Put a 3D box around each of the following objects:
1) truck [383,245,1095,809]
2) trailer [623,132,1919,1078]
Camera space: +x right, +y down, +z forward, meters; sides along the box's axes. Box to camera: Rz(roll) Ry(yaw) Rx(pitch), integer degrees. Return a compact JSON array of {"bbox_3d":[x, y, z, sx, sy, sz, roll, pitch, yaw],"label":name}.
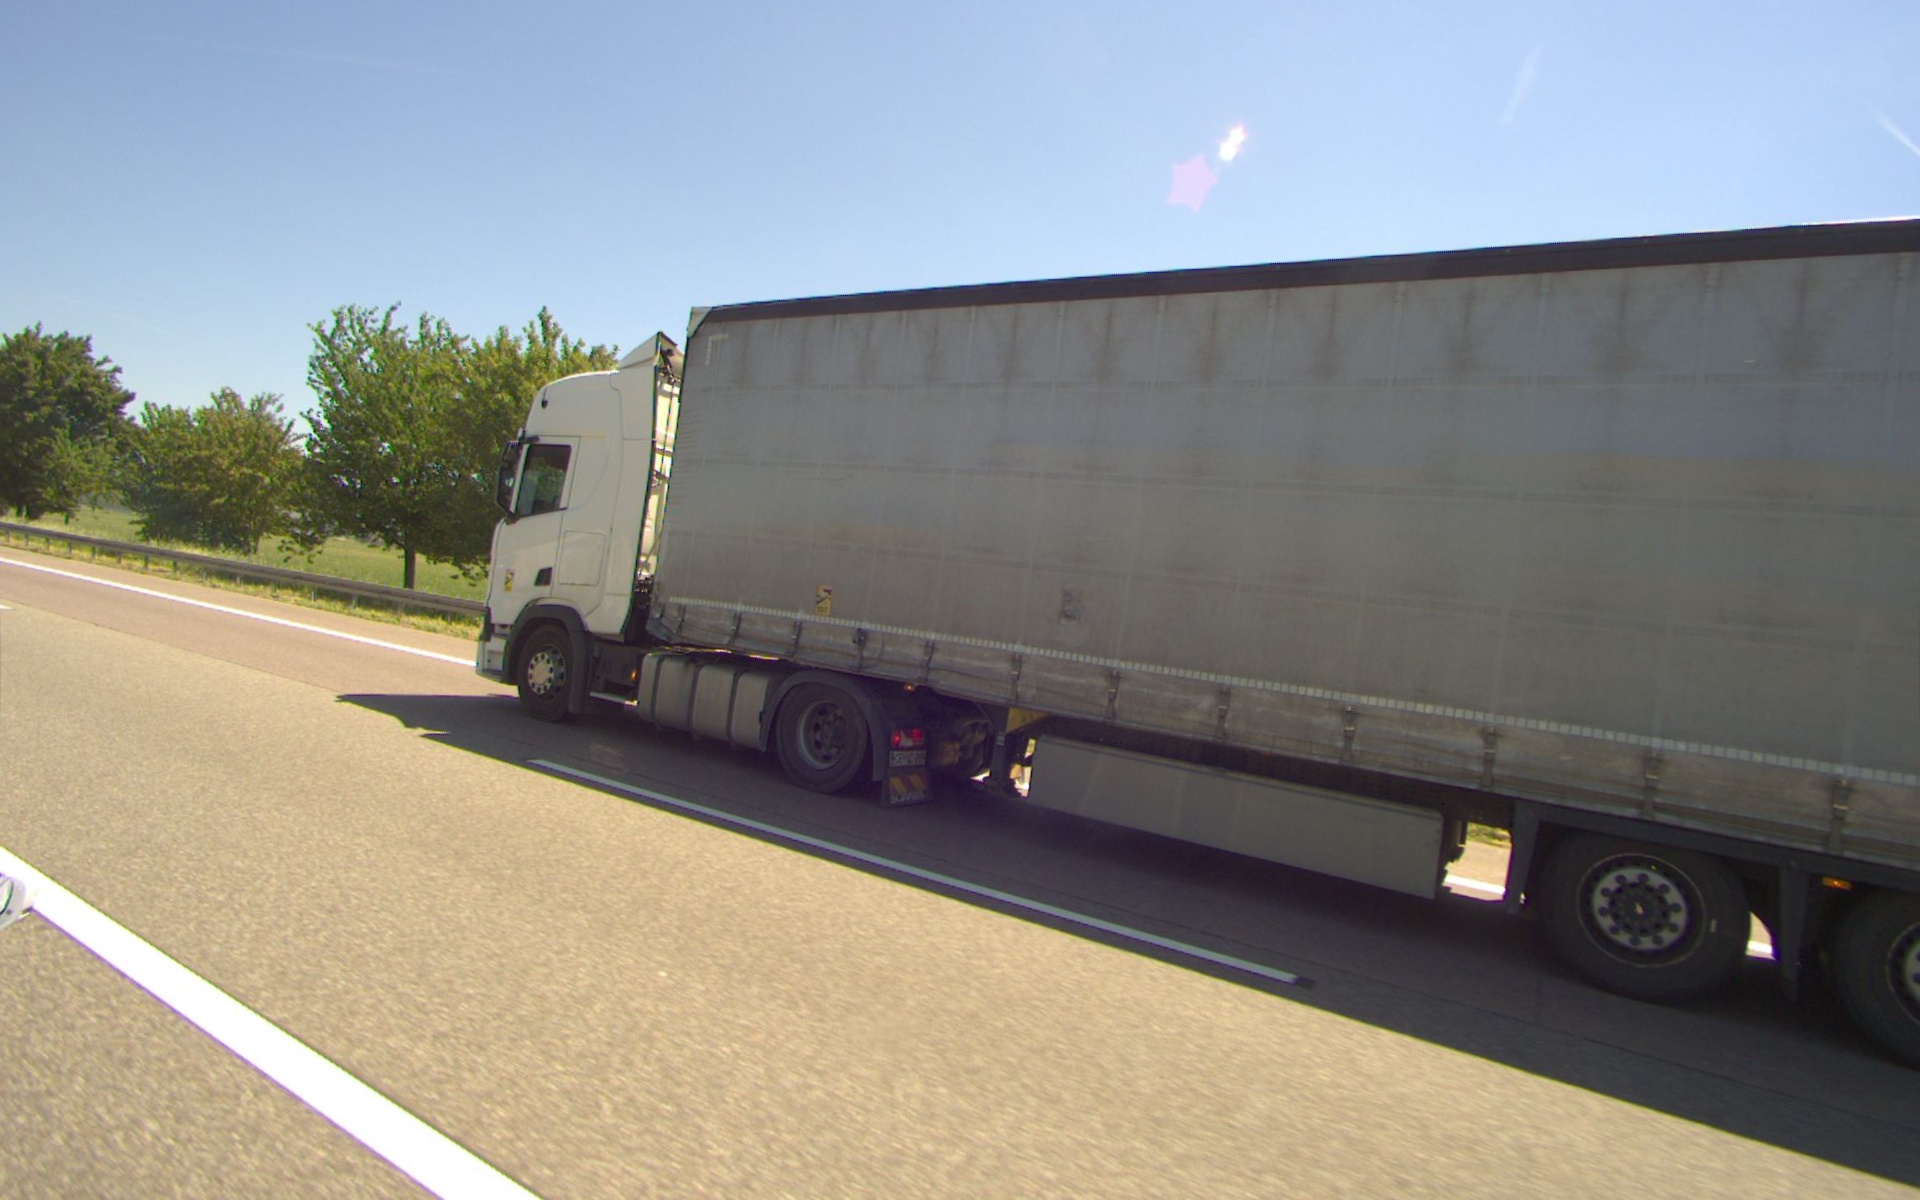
[{"bbox_3d":[-2.610,-0.747,10.797,7.075,4.354,2.815,6,-1,32],"label":"truck"},{"bbox_3d":[3.775,-0.042,6.706,14.020,4.354,2.815,6,-2,32],"label":"trailer"}]
